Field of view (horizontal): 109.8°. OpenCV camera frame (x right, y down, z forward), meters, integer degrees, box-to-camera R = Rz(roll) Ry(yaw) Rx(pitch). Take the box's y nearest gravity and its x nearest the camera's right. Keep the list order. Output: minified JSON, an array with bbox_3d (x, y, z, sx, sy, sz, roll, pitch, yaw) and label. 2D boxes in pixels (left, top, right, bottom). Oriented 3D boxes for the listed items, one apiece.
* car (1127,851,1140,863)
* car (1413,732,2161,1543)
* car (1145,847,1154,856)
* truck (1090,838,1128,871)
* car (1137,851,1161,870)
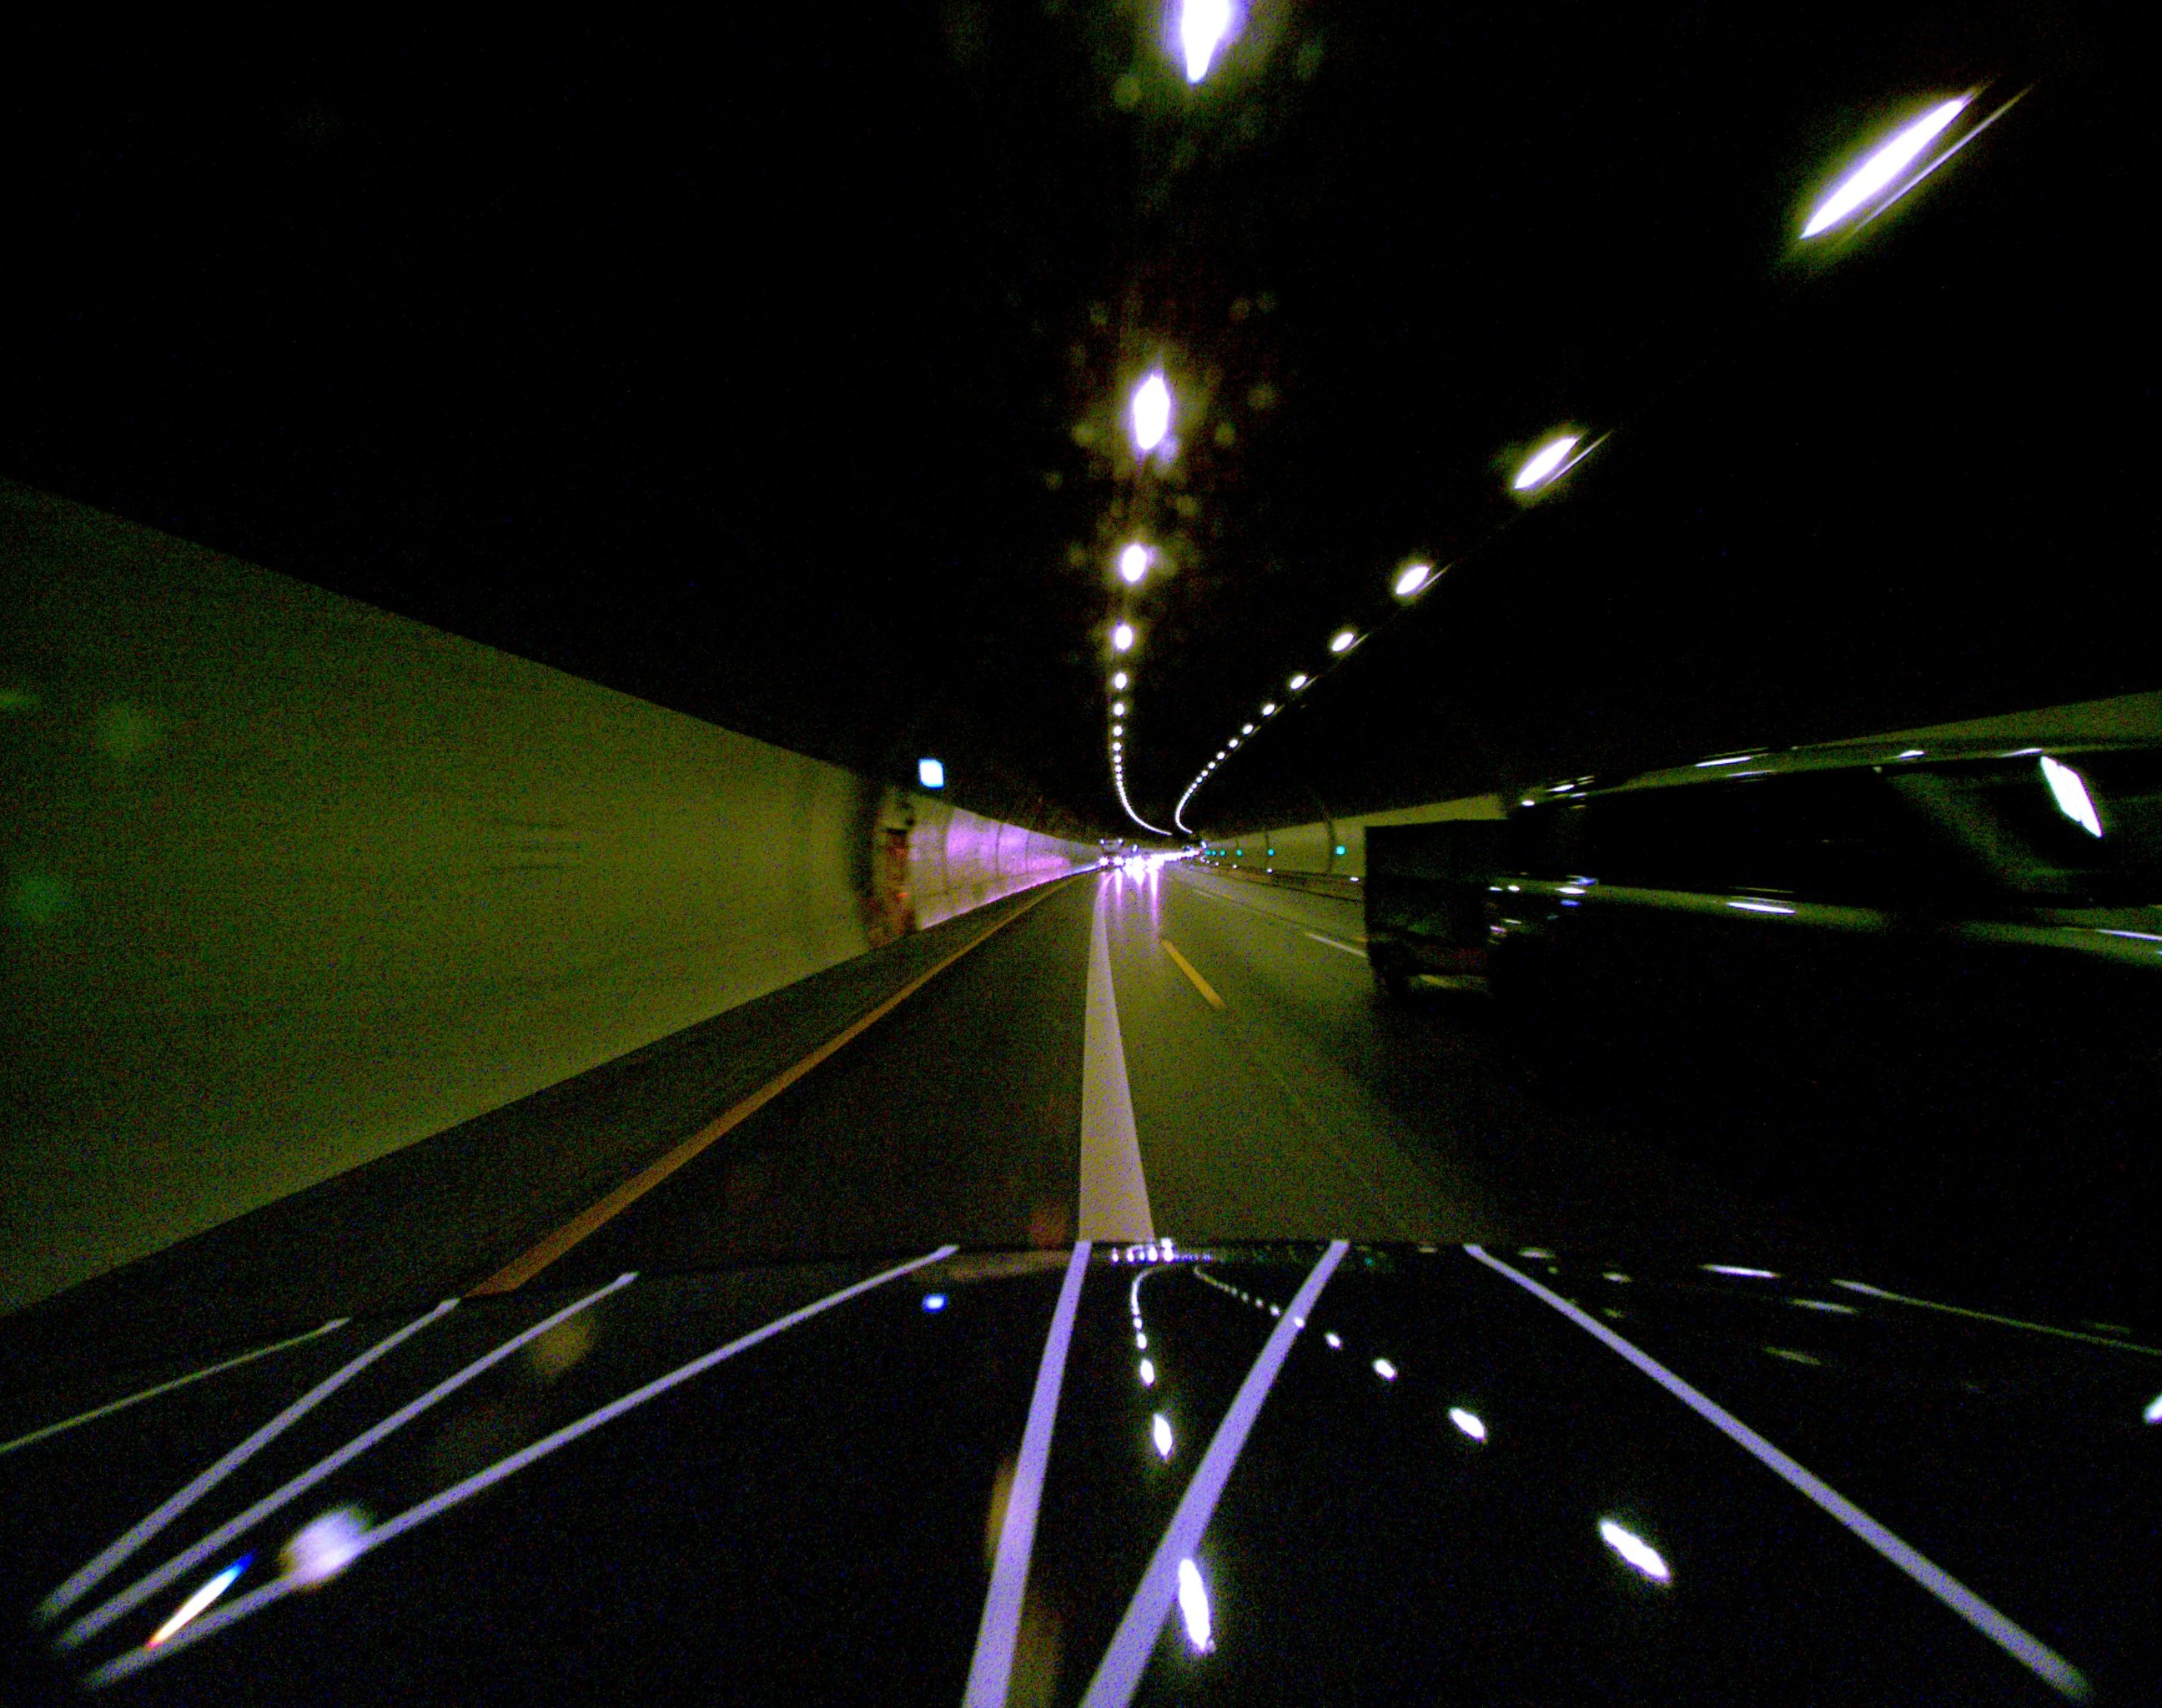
[{"bbox_3d":[9.044,0.472,130.386,1.997,2.002,4.002,-3,0,7],"label":"car"},{"bbox_3d":[3.480,0.620,2.876,1.999,1.884,5.452,-2,1,0],"label":"car"},{"bbox_3d":[15.993,-0.564,177.081,1.997,1.917,4.387,-3,0,7],"label":"car"},{"bbox_3d":[3.148,-0.027,81.124,2.987,3.161,10.513,-3,0,7],"label":"truck"},{"bbox_3d":[6.782,0.666,76.154,2.171,1.709,4.482,-3,0,4],"label":"car"}]
